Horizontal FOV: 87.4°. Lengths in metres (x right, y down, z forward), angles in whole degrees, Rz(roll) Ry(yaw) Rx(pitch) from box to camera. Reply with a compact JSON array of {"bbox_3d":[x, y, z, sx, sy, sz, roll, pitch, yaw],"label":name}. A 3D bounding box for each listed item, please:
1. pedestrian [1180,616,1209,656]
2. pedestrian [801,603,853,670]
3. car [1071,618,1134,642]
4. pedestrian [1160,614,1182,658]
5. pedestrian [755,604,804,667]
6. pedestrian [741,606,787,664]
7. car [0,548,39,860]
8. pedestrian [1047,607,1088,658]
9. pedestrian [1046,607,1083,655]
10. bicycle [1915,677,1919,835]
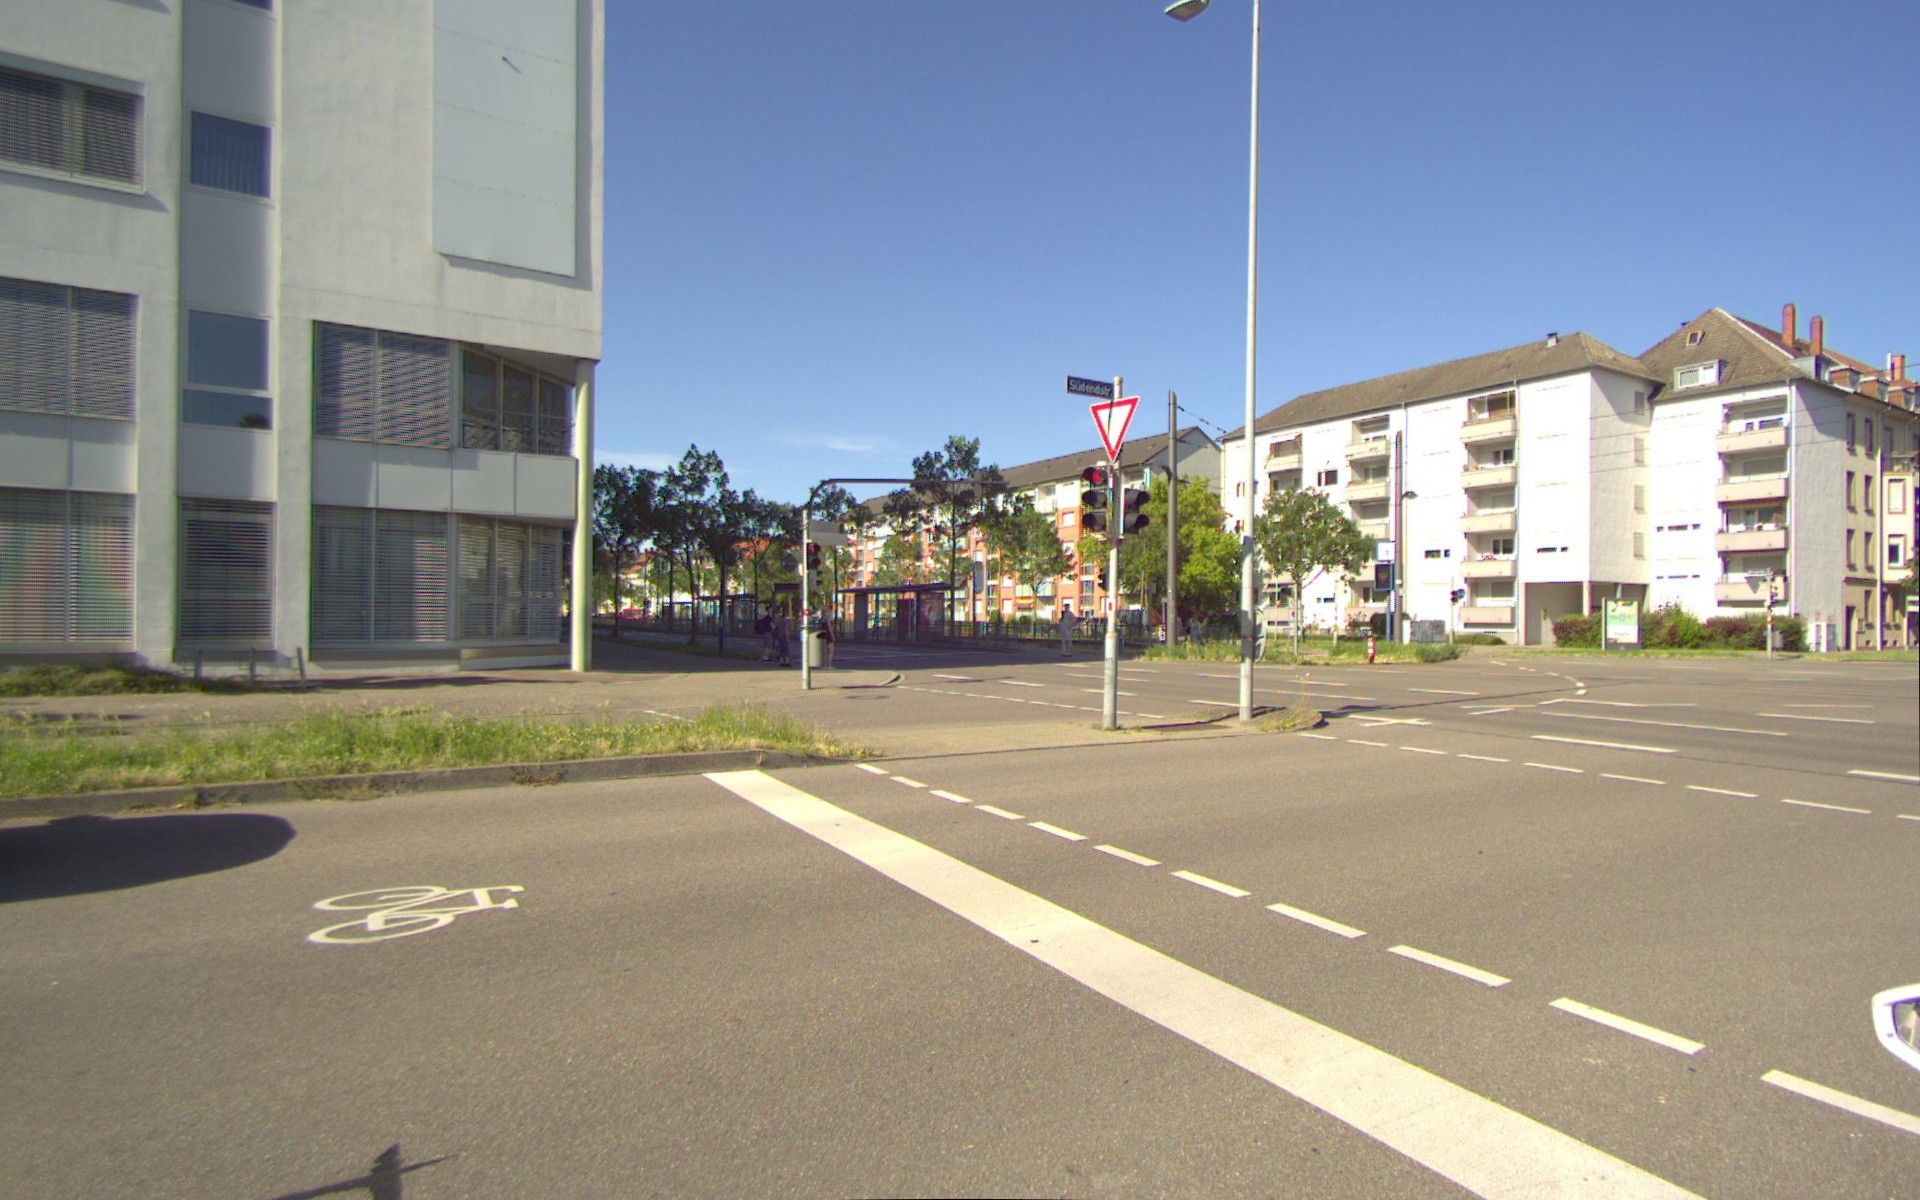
[{"bbox_3d":[9.219,1.404,39.498,0.850,1.554,0.719,1,-1,-37],"label":"pedestrian"},{"bbox_3d":[-3.541,0.959,26.781,1.143,1.749,0.805,1,-1,-37],"label":"pedestrian"},{"bbox_3d":[9.957,2.095,70.373,4.310,1.451,1.694,2,1,7],"label":"car"},{"bbox_3d":[8.450,1.434,40.252,0.797,1.749,1.155,0,-1,10],"label":"pedestrian"},{"bbox_3d":[-5.131,1.015,28.570,1.143,1.749,0.805,1,-1,-37],"label":"pedestrian"},{"bbox_3d":[-6.042,1.064,30.962,1.143,1.749,0.805,1,-1,-37],"label":"pedestrian"},{"bbox_3d":[-6.821,0.503,3.943,4.428,1.650,1.744,2,1,-32],"label":"car"},{"bbox_3d":[3.841,1.162,35.902,1.143,1.794,0.914,1,-1,-37],"label":"pedestrian"},{"bbox_3d":[3.930,1.159,37.731,1.143,1.749,0.805,1,-1,-37],"label":"pedestrian"},{"bbox_3d":[7.356,1.058,6.388,0.668,1.069,1.791,1,-2,-40],"label":"bicycle"}]
